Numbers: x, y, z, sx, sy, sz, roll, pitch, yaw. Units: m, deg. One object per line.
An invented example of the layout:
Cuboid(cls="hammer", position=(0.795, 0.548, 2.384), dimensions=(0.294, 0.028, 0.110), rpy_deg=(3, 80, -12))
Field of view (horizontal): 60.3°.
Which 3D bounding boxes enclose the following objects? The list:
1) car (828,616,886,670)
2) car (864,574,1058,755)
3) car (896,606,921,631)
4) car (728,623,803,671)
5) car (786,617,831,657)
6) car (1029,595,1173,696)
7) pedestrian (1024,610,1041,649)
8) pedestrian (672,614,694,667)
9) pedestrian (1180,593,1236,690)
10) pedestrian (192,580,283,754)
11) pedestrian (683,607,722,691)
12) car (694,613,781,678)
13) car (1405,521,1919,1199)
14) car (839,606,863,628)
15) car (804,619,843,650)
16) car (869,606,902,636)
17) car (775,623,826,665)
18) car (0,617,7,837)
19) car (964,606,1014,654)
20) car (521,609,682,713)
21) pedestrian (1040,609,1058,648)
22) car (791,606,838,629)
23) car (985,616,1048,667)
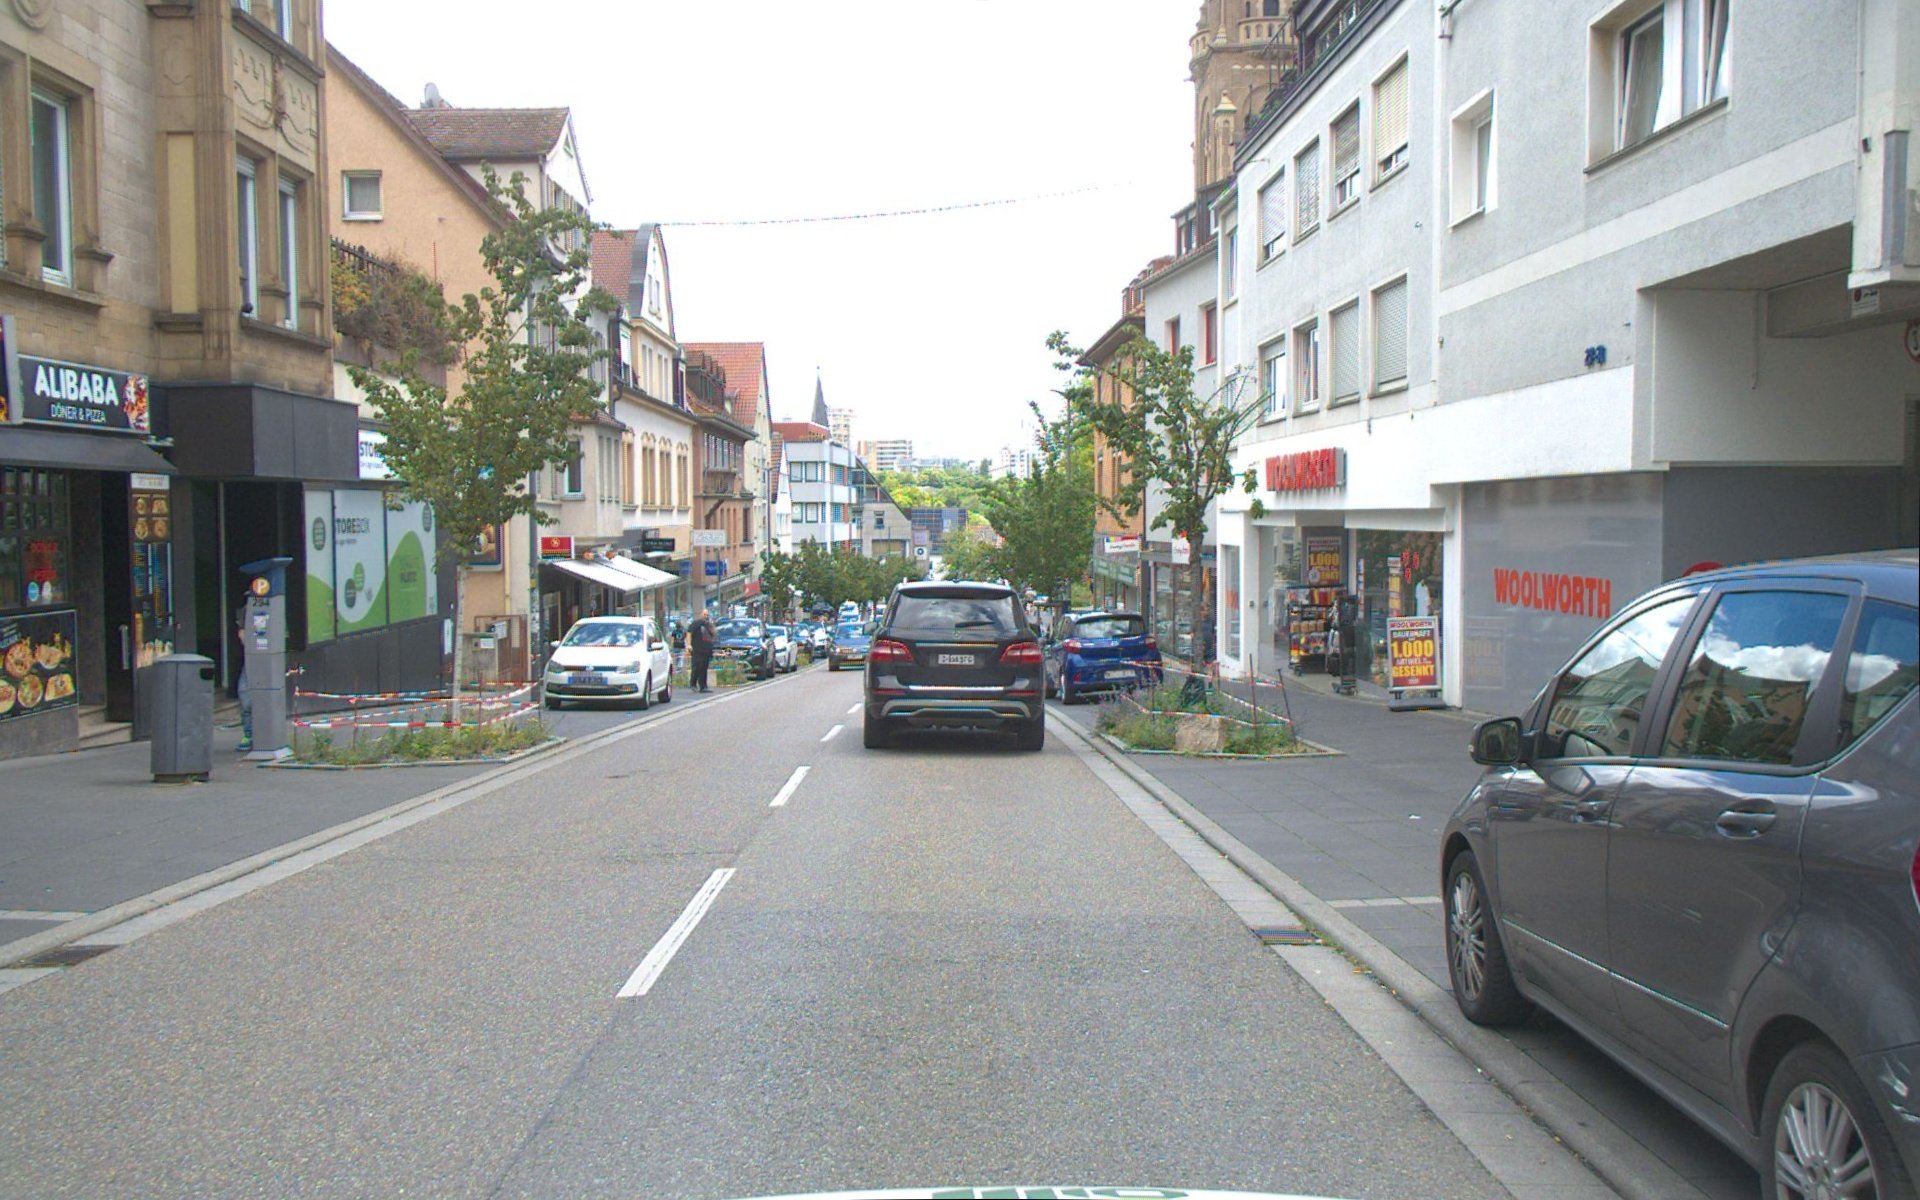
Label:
Cuboid(cls="car", position=(-3.392, 1.412, 54.926), dimensions=(1.783, 1.646, 4.133), rpy_deg=(-2, -1, -3))
Cuboid(cls="car", position=(-0.017, 0.624, 18.412), dimensions=(1.904, 1.770, 4.178), rpy_deg=(0, 0, -1))
Cuboid(cls="car", position=(-3.845, 1.389, 123.636), dimensions=(1.729, 1.645, 4.031), rpy_deg=(-3, 1, -2))
Cuboid(cls="car", position=(-6.154, 1.471, 52.762), dimensions=(1.887, 1.455, 4.261), rpy_deg=(0, -1, 0))
Cuboid(cls="car", position=(-6.710, 1.638, 73.697), dimensions=(1.889, 1.623, 4.454), rpy_deg=(2, 0, -4))
Cuboid(cls="car", position=(2.327, 0.785, 28.307), dimensions=(1.715, 1.524, 3.795), rpy_deg=(-3, -1, -6))
Cuboid(cls="pedestrian", position=(3.092, 1.244, 70.778), dimensions=(0.658, 1.661, 0.669), rpy_deg=(-1, 0, -4))
Cuboid(cls="pedestrian", position=(-8.555, 1.254, 51.080), dimensions=(0.536, 1.603, 0.862), rpy_deg=(-1, 0, -2))
Cuboid(cls="pedestrian", position=(4.218, 0.699, 28.209), dimensions=(0.741, 1.588, 0.817), rpy_deg=(-2, -1, -4))
Cuboid(cls="pedestrian", position=(-7.429, 0.675, 17.029), dimensions=(0.575, 1.743, 0.710), rpy_deg=(1, -1, -1))
Cuboid(cls="pedestrian", position=(-5.301, 1.007, 34.050), dimensions=(0.723, 1.701, 0.862), rpy_deg=(0, -1, -4))
Cuboid(cls="car", position=(-6.004, 1.211, 45.015), dimensions=(1.888, 1.650, 4.637), rpy_deg=(1, -1, -2))
Cuboid(cls="car", position=(2.599, 0.643, 4.545), dimensions=(1.712, 1.636, 3.800), rpy_deg=(-2, 0, 1))
Cuboid(cls="car", position=(-8.819, 1.342, 134.052), dimensions=(1.888, 1.657, 4.412), rpy_deg=(2, 0, -3))
Cuboid(cls="car", position=(-7.431, 1.876, 90.108), dimensions=(1.888, 1.523, 4.260), rpy_deg=(2, 0, -2))
Cuboid(cls="car", position=(-4.542, 1.274, 100.754), dimensions=(1.952, 1.748, 4.445), rpy_deg=(0, 0, -2))
Cuboid(cls="car", position=(-6.382, 1.737, 66.426), dimensions=(1.888, 1.523, 4.258), rpy_deg=(-1, 0, -4))
Cuboid(cls="car", position=(-5.299, 0.812, 5.215), dimensions=(1.888, 1.518, 4.840), rpy_deg=(2, 0, -2))
Cuboid(cls="car", position=(1.251, 1.279, 72.669), dimensions=(1.899, 1.924, 4.705), rpy_deg=(-2, 0, -2))
Cuboid(cls="car", position=(-5.914, 0.958, 27.797), dimensions=(1.888, 1.538, 4.260), rpy_deg=(1, 0, -2))
Cuboid(cls="pedestrian", position=(3.817, 1.229, 70.864), dimensions=(0.658, 1.661, 0.669), rpy_deg=(-1, 0, -4))
Cuboid(cls="car", position=(-12.407, 1.513, 141.308), dimensions=(3.910, 1.780, 1.998), rpy_deg=(-3, -1, -5))
Cuboid(cls="car", position=(1.840, 1.341, 55.049), dimensions=(1.713, 1.491, 4.073), rpy_deg=(-4, 0, -2))
